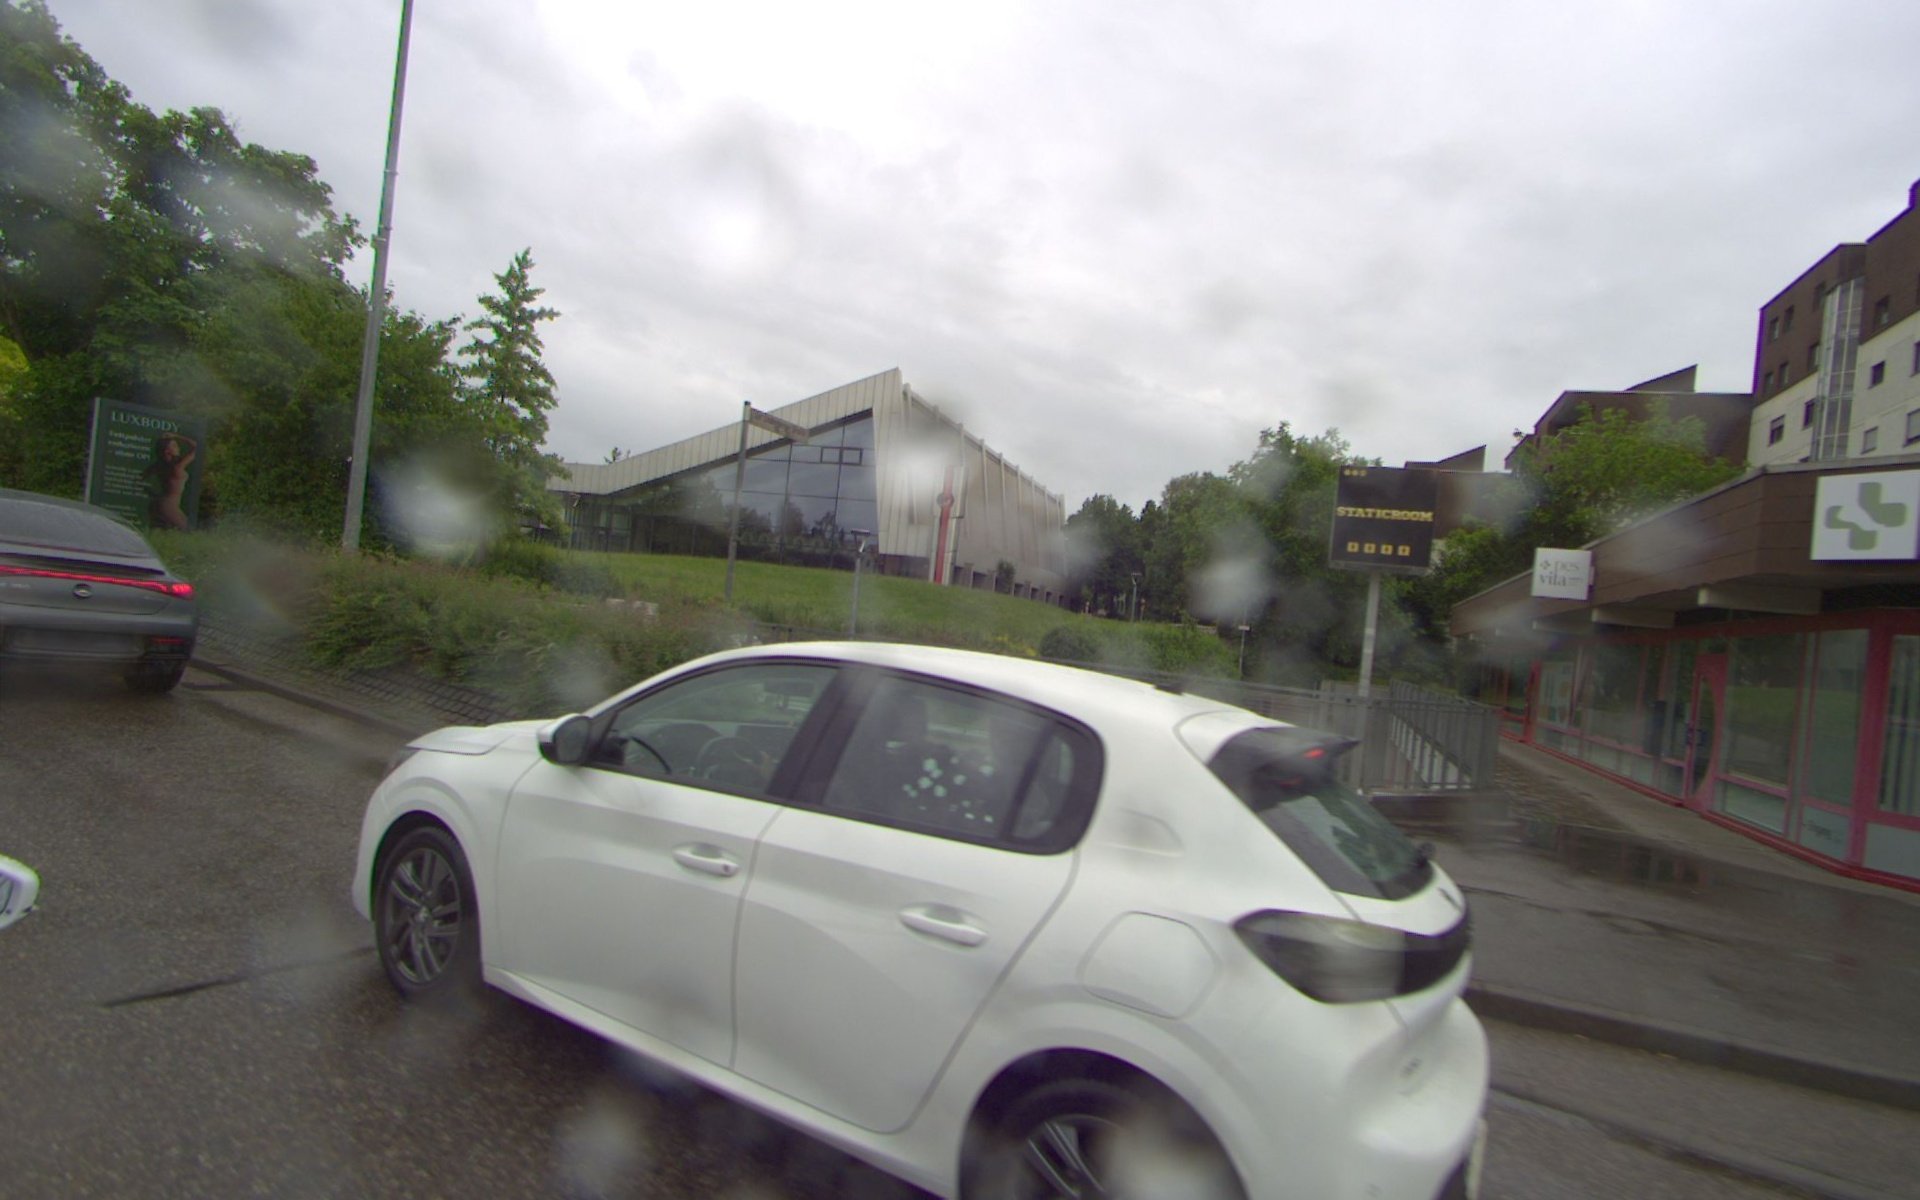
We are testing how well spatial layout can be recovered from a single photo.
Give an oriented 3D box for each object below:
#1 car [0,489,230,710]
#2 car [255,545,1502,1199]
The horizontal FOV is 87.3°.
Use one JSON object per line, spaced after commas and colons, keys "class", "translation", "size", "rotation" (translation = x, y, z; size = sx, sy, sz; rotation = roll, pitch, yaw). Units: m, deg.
{"class": "car", "translation": [-8.435, -0.230, 8.531], "size": [4.728, 1.483, 1.842], "rotation": [8, -2, 31]}
{"class": "car", "translation": [-0.507, 0.782, 3.536], "size": [4.047, 1.432, 1.665], "rotation": [7, -1, 32]}
